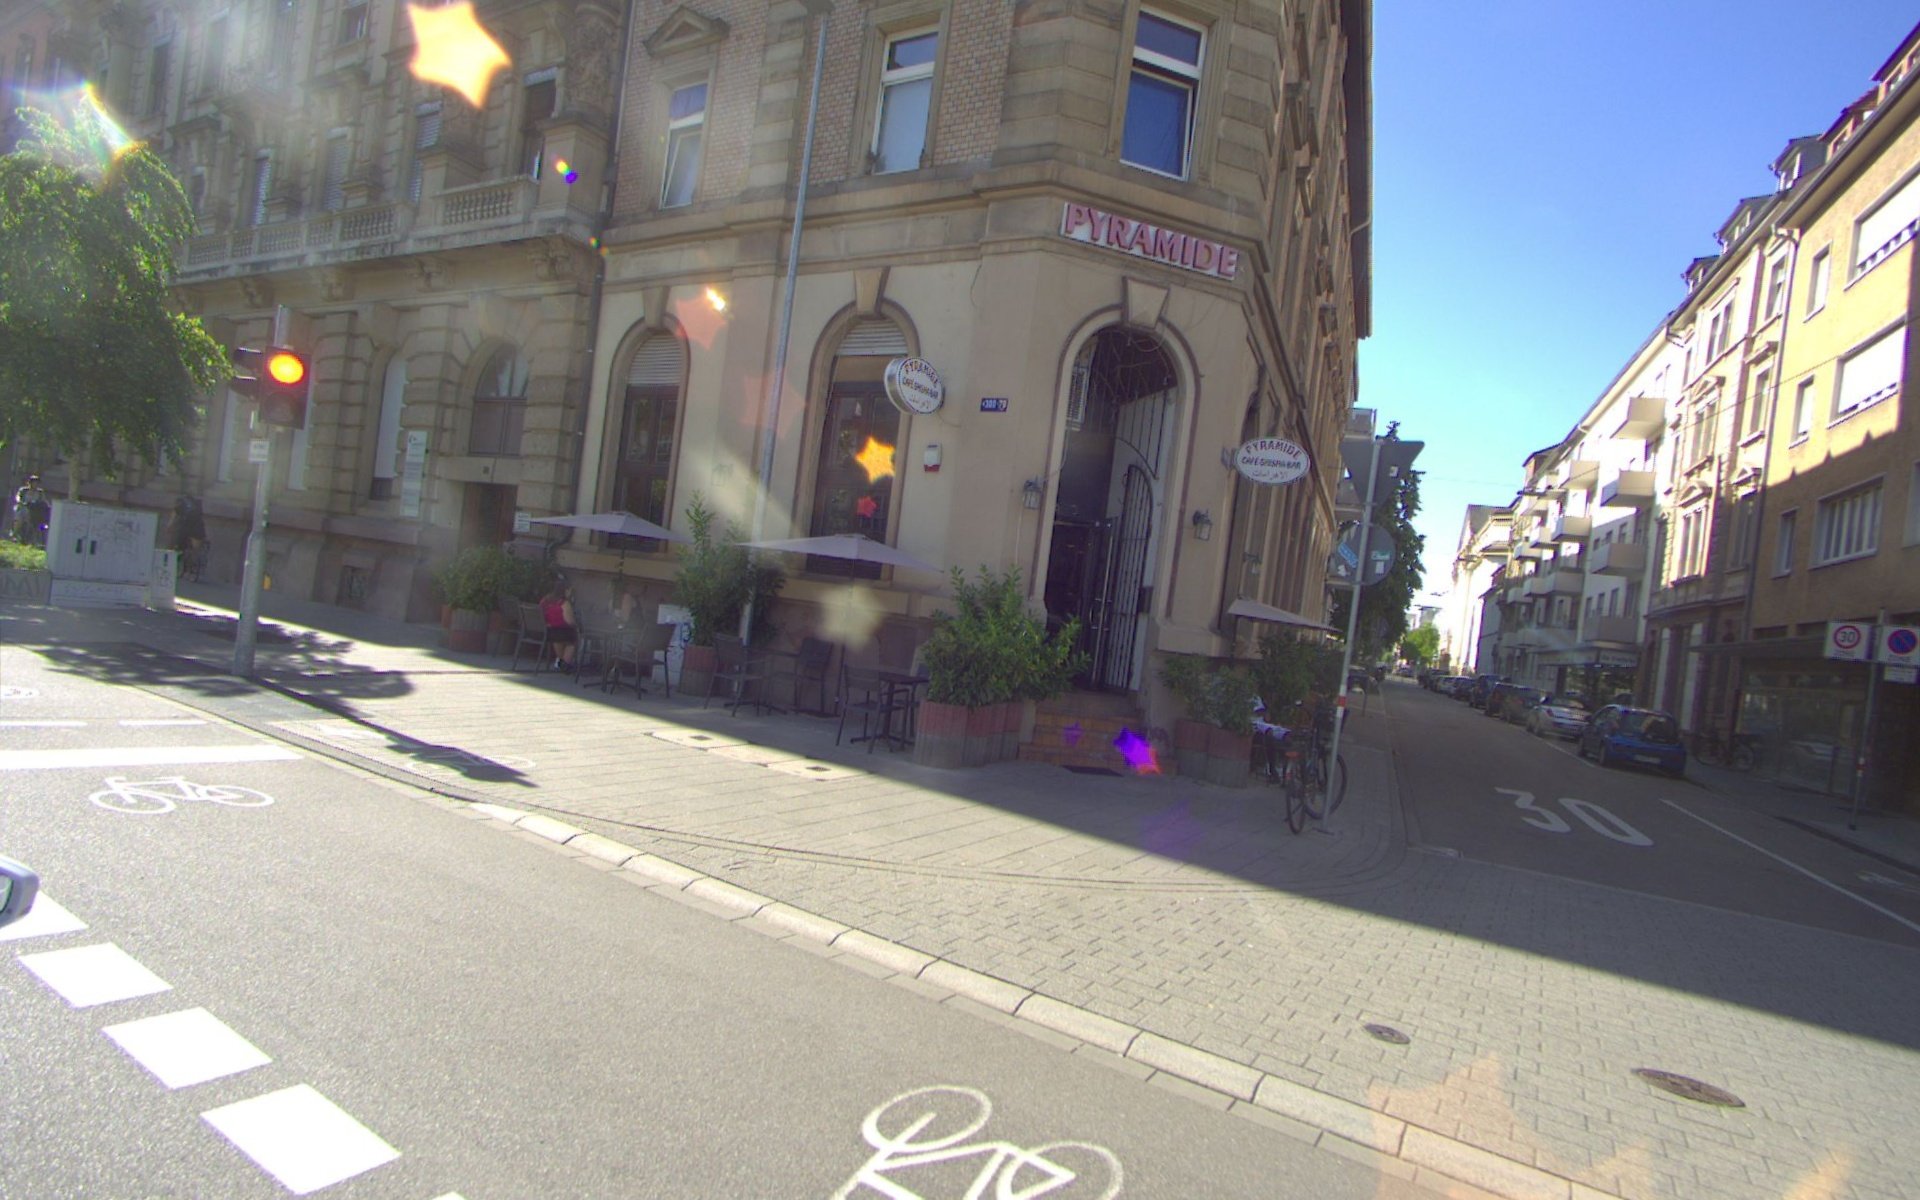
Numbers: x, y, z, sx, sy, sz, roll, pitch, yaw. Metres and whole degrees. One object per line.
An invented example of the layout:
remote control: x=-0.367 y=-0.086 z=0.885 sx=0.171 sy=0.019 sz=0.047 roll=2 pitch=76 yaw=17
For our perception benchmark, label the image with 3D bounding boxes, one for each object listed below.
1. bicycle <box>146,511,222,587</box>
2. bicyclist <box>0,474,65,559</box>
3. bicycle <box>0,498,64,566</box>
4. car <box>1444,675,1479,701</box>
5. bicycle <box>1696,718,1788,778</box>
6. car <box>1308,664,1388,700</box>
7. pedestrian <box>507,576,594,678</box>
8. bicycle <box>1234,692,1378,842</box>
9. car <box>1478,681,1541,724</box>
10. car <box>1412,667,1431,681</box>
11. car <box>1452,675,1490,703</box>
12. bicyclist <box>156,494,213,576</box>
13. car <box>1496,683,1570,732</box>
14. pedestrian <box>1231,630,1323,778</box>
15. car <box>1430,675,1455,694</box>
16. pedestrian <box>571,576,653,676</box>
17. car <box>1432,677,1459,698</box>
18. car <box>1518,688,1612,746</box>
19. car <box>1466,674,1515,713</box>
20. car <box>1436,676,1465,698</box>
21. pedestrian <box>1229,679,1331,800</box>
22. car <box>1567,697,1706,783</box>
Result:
bicycle: x=-15.702 y=-1.042 z=20.334 sx=1.869 sy=1.349 sz=0.615 roll=8 pitch=5 yaw=33
bicyclist: x=-19.647 y=-1.762 z=21.313 sx=0.944 sy=1.659 sz=0.667 roll=8 pitch=1 yaw=32
bicycle: x=-19.841 y=-1.451 z=21.378 sx=1.868 sy=1.237 sz=0.584 roll=7 pitch=0 yaw=32
car: x=34.653 y=6.063 z=69.572 sx=1.769 sy=1.449 sz=3.772 roll=7 pitch=-1 yaw=24
bicycle: x=19.772 y=3.716 z=25.497 sx=0.621 sy=1.192 sz=2.014 roll=7 pitch=0 yaw=1
car: x=19.825 y=4.196 z=51.485 sx=3.295 sy=1.299 sz=1.707 roll=7 pitch=0 yaw=-7
pedestrian: x=-5.208 y=0.347 z=12.809 sx=0.624 sy=1.193 sz=0.706 roll=7 pitch=2 yaw=31
bicycle: x=3.363 y=1.544 z=9.655 sx=0.643 sy=1.186 sz=1.818 roll=12 pitch=2 yaw=35
car: x=23.481 y=4.359 z=43.127 sx=1.769 sy=1.449 sz=3.773 roll=7 pitch=-1 yaw=22
car: x=53.976 y=8.640 z=117.624 sx=1.769 sy=1.449 sz=3.772 roll=7 pitch=-1 yaw=24
car: x=32.724 y=5.671 z=64.450 sx=1.769 sy=1.449 sz=3.772 roll=7 pitch=-1 yaw=24
bicyclist: x=-15.598 y=-1.300 z=20.236 sx=0.788 sy=1.552 sz=0.660 roll=8 pitch=5 yaw=33
car: x=21.774 y=4.034 z=38.354 sx=1.769 sy=1.449 sz=3.773 roll=7 pitch=-1 yaw=22
pedestrian: x=4.234 y=1.371 z=13.406 sx=0.852 sy=1.781 sz=0.909 roll=7 pitch=-1 yaw=25
car: x=45.049 y=7.887 z=94.012 sx=1.769 sy=1.449 sz=3.772 roll=7 pitch=-1 yaw=24
pedestrian: x=-4.711 y=0.358 z=13.636 sx=0.624 sy=1.252 sz=0.706 roll=7 pitch=2 yaw=31
car: x=40.521 y=7.291 z=84.016 sx=1.769 sy=1.449 sz=3.772 roll=7 pitch=-1 yaw=24
car: x=19.439 y=3.730 z=32.494 sx=1.769 sy=1.350 sz=4.000 roll=10 pitch=0 yaw=22
car: x=27.646 y=4.837 z=52.529 sx=1.769 sy=1.685 sz=3.772 roll=7 pitch=-1 yaw=23
car: x=38.832 y=6.875 z=79.687 sx=1.769 sy=1.449 sz=3.772 roll=7 pitch=-1 yaw=24
pedestrian: x=3.791 y=1.618 z=11.892 sx=0.917 sy=1.228 sz=0.852 roll=7 pitch=-1 yaw=25
car: x=16.079 y=3.268 z=24.130 sx=1.769 sy=1.437 sz=4.000 roll=10 pitch=0 yaw=22
